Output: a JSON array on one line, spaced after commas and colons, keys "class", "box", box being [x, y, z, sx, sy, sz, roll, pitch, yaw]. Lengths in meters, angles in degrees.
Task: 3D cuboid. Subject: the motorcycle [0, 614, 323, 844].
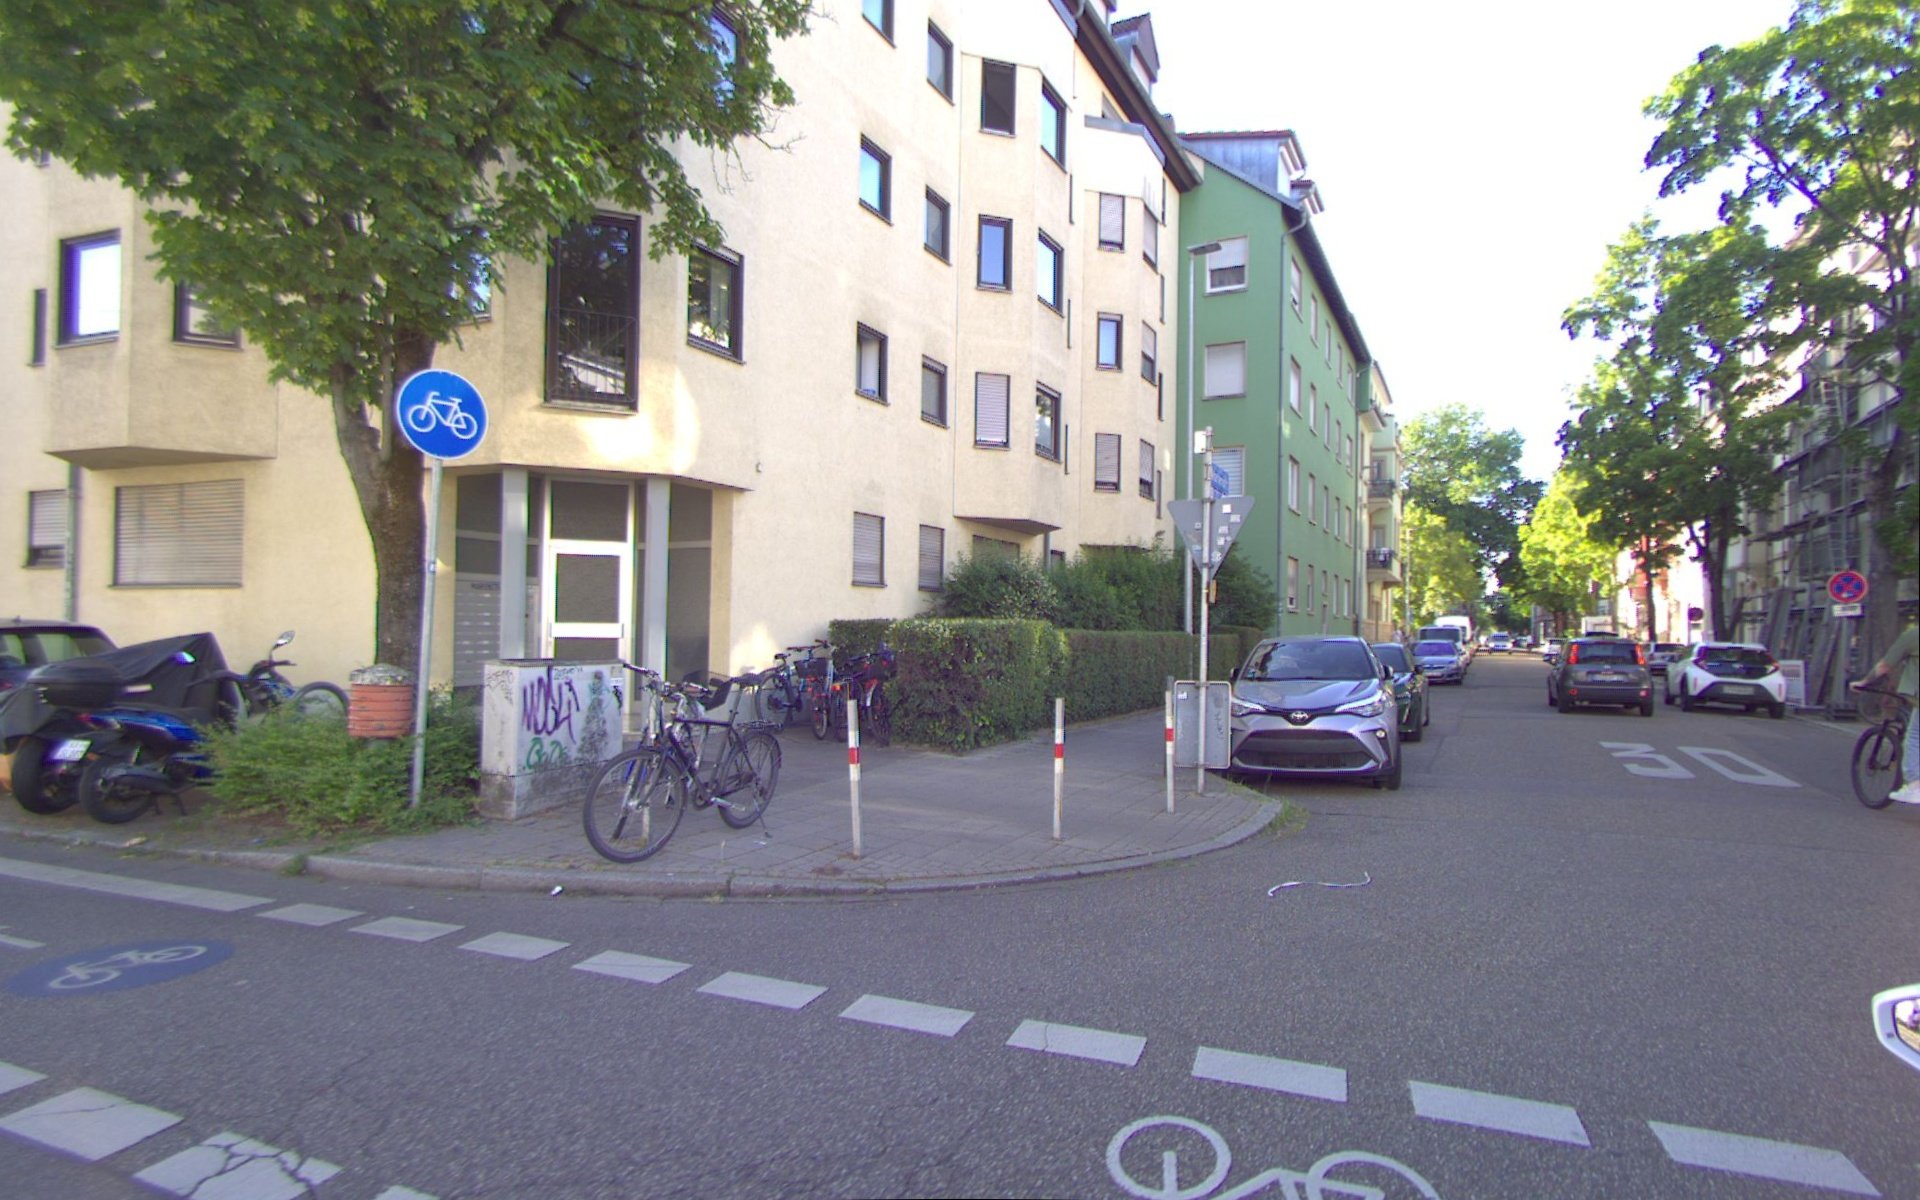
[{"class": "motorcycle", "box": [-5.918, 0.855, 7.506, 0.706, 1.466, 1.976, 1, -1, 15]}]

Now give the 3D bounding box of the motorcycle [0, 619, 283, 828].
[{"class": "motorcycle", "box": [-6.758, 0.902, 8.186, 0.819, 1.466, 1.976, 1, -1, 15]}]

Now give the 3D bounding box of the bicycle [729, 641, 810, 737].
[{"class": "bicycle", "box": [-2.321, 1.059, 12.352, 0.325, 1.060, 1.393, 1, 0, 19]}]

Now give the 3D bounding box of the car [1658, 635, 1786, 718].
[{"class": "car", "box": [16.573, 1.601, 21.998, 1.650, 1.565, 3.399, 3, 0, 28]}]

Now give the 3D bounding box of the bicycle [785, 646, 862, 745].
[{"class": "bicycle", "box": [-1.620, 1.118, 12.096, 0.325, 1.060, 1.393, 1, 0, 19]}]

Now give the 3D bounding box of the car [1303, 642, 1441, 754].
[{"class": "car", "box": [6.667, 1.448, 16.024, 1.725, 1.516, 4.131, -1, -3, 26]}]

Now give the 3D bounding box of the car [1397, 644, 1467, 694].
[{"class": "car", "box": [15.494, 2.217, 33.039, 1.948, 1.475, 4.111, -1, -2, 25]}]

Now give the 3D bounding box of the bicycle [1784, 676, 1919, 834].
[{"class": "bicycle", "box": [8.162, 1.289, 8.554, 0.825, 1.164, 2.234, 0, -1, 12]}]

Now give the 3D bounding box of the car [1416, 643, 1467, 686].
[{"class": "car", "box": [18.084, 2.369, 37.665, 1.661, 1.472, 3.706, 0, -2, 27]}]

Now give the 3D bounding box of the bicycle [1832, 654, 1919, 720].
[{"class": "bicycle", "box": [17.653, 1.614, 18.748, 1.946, 1.181, 0.727, -2, -1, 11]}]

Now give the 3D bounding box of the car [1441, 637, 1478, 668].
[{"class": "car", "box": [26.606, 2.752, 53.450, 1.685, 1.524, 3.995, 1, -1, 28]}]

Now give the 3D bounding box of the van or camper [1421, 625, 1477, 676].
[{"class": "van or camper", "box": [20.896, 2.106, 42.818, 1.964, 2.040, 4.904, 0, -2, 29]}]

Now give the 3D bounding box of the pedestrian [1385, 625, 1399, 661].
[{"class": "pedestrian", "box": [24.012, 2.391, 55.802, 0.673, 1.944, 0.617, 1, -1, 23]}]

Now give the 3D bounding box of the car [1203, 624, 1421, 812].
[{"class": "car", "box": [4.089, 1.152, 11.253, 1.874, 1.681, 3.997, -1, -3, 25]}]

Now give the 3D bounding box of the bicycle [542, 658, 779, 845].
[{"class": "bicycle", "box": [-2.061, 0.994, 7.192, 0.584, 1.099, 1.811, 1, -1, 23]}]

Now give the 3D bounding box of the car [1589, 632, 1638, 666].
[{"class": "car", "box": [34.201, 2.534, 52.653, 1.661, 1.706, 3.996, 0, -2, 26]}]

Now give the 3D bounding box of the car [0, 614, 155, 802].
[{"class": "car", "box": [-9.897, 0.904, 9.455, 4.047, 1.563, 1.741, 1, -1, 20]}]

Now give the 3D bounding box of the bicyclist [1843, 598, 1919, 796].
[{"class": "bicyclist", "box": [8.109, 0.813, 8.356, 0.867, 1.581, 0.868, 1, -4, 20]}]

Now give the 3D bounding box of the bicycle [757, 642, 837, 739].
[{"class": "bicycle", "box": [-1.961, 1.067, 12.237, 0.325, 1.060, 1.393, 1, 0, 19]}]

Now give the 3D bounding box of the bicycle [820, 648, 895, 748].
[{"class": "bicycle", "box": [-1.214, 1.148, 12.114, 0.325, 1.060, 1.393, 1, 0, 19]}]

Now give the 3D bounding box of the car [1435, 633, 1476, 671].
[{"class": "car", "box": [24.364, 2.517, 49.317, 1.685, 1.706, 3.995, 1, -1, 28]}]

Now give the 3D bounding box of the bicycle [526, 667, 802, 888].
[{"class": "bicycle", "box": [-1.768, 1.011, 6.348, 0.584, 1.099, 1.882, 1, -1, 23]}]

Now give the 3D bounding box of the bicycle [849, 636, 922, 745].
[{"class": "bicycle", "box": [-0.854, 1.034, 11.874, 0.325, 1.159, 1.393, 1, 0, 19]}]

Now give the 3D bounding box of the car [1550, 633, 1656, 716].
[{"class": "car", "box": [13.186, 1.484, 20.749, 1.533, 1.553, 3.482, -1, -3, 28]}]

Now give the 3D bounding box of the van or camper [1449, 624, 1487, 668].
[{"class": "van or camper", "box": [31.402, 2.792, 62.078, 1.963, 2.587, 5.017, 1, -1, 27]}]
